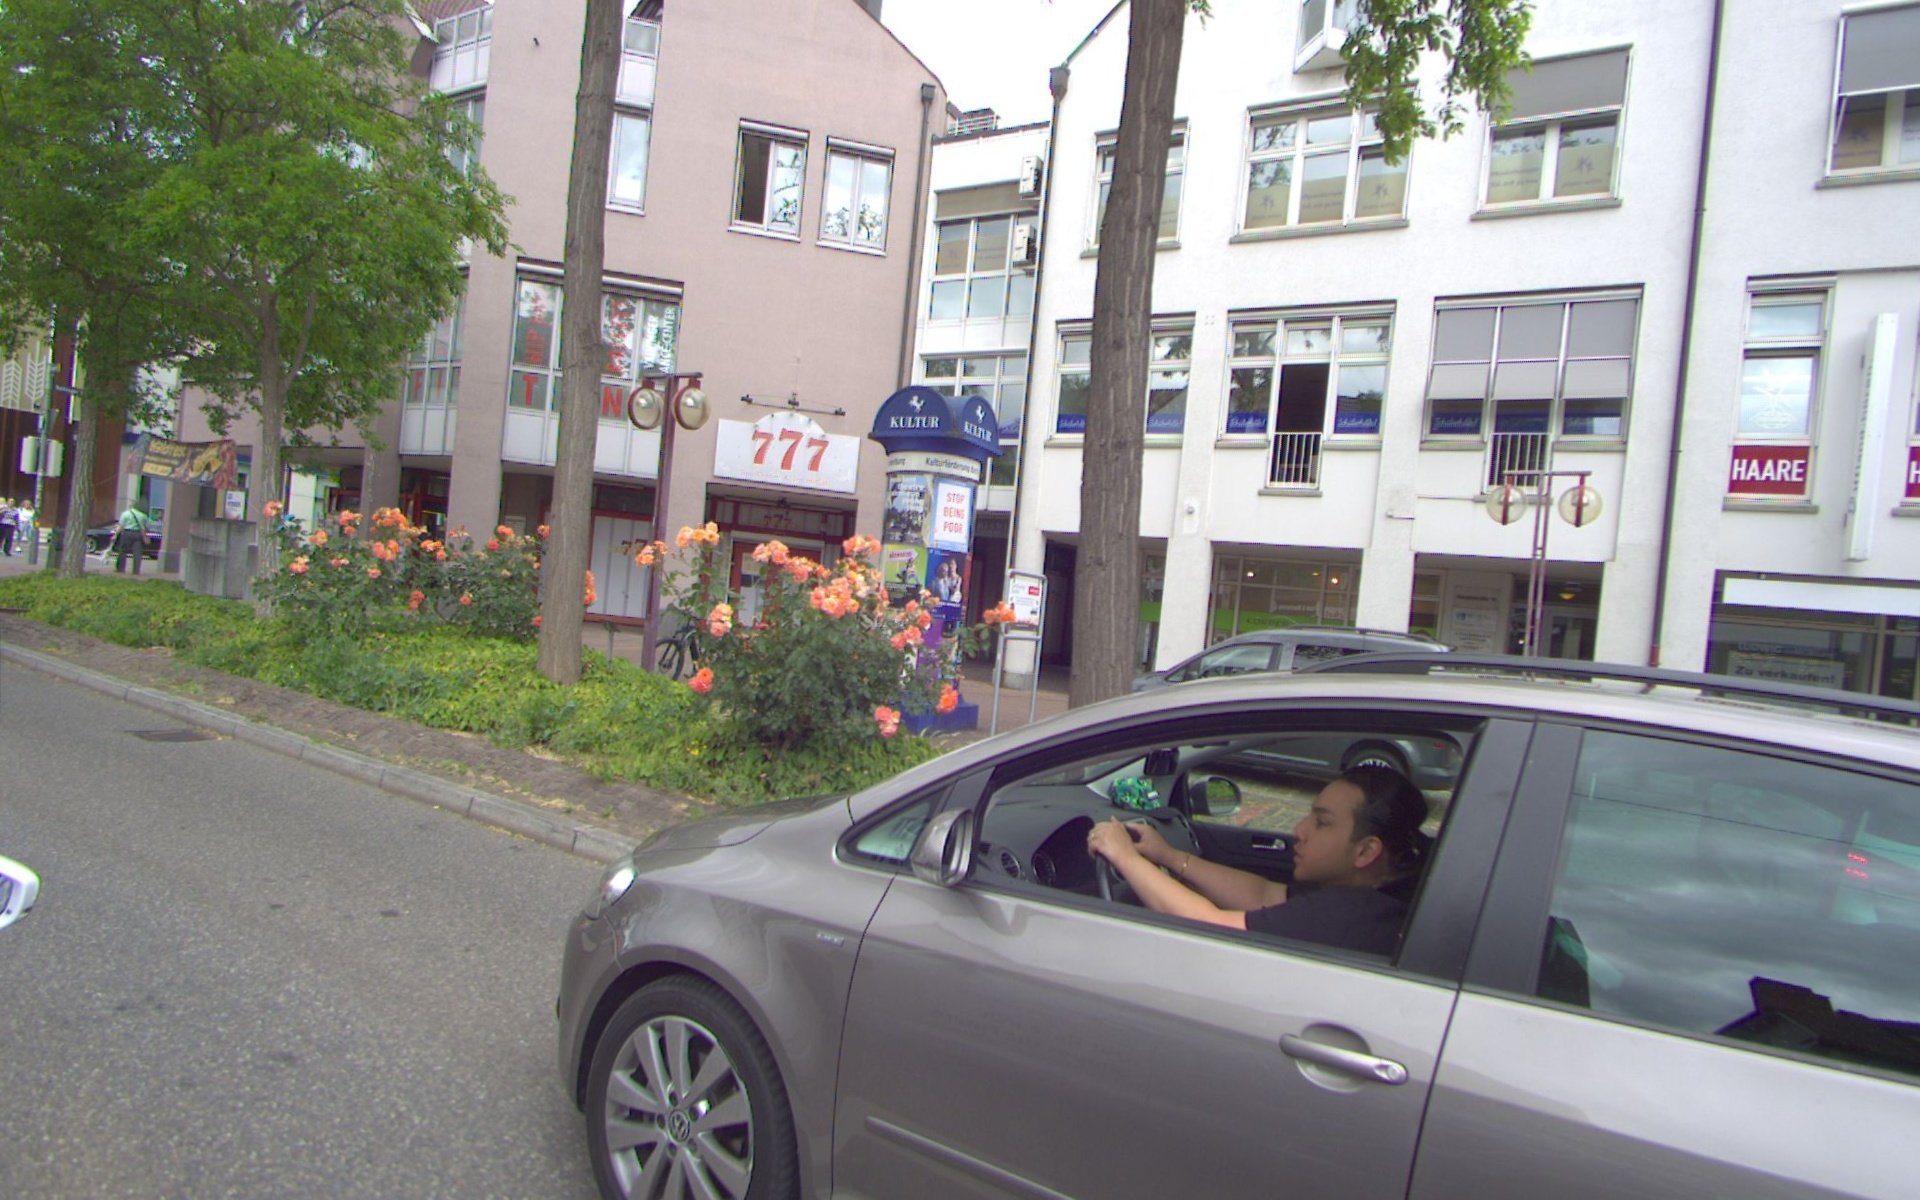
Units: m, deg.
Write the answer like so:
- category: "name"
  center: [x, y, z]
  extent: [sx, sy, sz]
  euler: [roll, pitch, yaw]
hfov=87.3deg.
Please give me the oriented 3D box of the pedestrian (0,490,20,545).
- category: "pedestrian"
  center: [-32.715, -2.837, 34.076]
  extent: [1.101, 1.789, 0.880]
  euler: [6, 1, 28]

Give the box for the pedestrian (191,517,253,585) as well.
- category: "pedestrian"
  center: [-18.815, -1.244, 25.661]
  extent: [0.952, 1.578, 0.831]
  euler: [6, 0, 27]

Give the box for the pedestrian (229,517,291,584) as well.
- category: "pedestrian"
  center: [-18.404, -1.291, 26.450]
  extent: [1.040, 1.604, 0.832]
  euler: [6, 0, 26]

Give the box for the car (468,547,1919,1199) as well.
- category: "car"
  center: [0.962, 0.909, 2.323]
  extent: [3.933, 1.547, 1.801]
  euler: [6, -2, 31]

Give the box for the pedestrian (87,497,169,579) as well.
- category: "pedestrian"
  center: [-19.624, -1.456, 23.736]
  extent: [1.091, 1.736, 1.057]
  euler: [6, 0, 30]

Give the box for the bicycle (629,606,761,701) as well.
- category: "bicycle"
  center: [-3.450, 0.703, 13.113]
  extent: [1.546, 1.061, 0.405]
  euler: [6, 1, -18]

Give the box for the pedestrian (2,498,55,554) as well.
- category: "pedestrian"
  center: [-29.343, -2.323, 31.701]
  extent: [1.021, 1.615, 0.823]
  euler: [6, 0, 28]

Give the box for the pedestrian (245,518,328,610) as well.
- category: "pedestrian"
  center: [-13.040, -0.692, 19.479]
  extent: [1.074, 1.647, 0.809]
  euler: [7, 1, 29]

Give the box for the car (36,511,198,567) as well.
- category: "car"
  center: [-31.204, -2.222, 37.358]
  extent: [1.770, 1.421, 4.182]
  euler: [7, -1, 28]

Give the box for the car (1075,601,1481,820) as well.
- category: "car"
  center: [3.709, 1.158, 11.906]
  extent: [4.188, 1.827, 1.736]
  euler: [6, 1, 29]

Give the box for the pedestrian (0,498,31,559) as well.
- category: "pedestrian"
  center: [-26.997, -2.050, 28.403]
  extent: [0.937, 1.647, 0.742]
  euler: [7, 1, 28]

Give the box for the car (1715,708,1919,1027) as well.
- category: "car"
  center: [6.769, 1.702, 7.027]
  extent: [1.710, 1.472, 4.643]
  euler: [6, 0, 30]

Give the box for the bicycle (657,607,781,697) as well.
- category: "bicycle"
  center: [-3.299, 0.713, 13.785]
  extent: [1.546, 1.061, 0.405]
  euler: [6, 1, -18]
